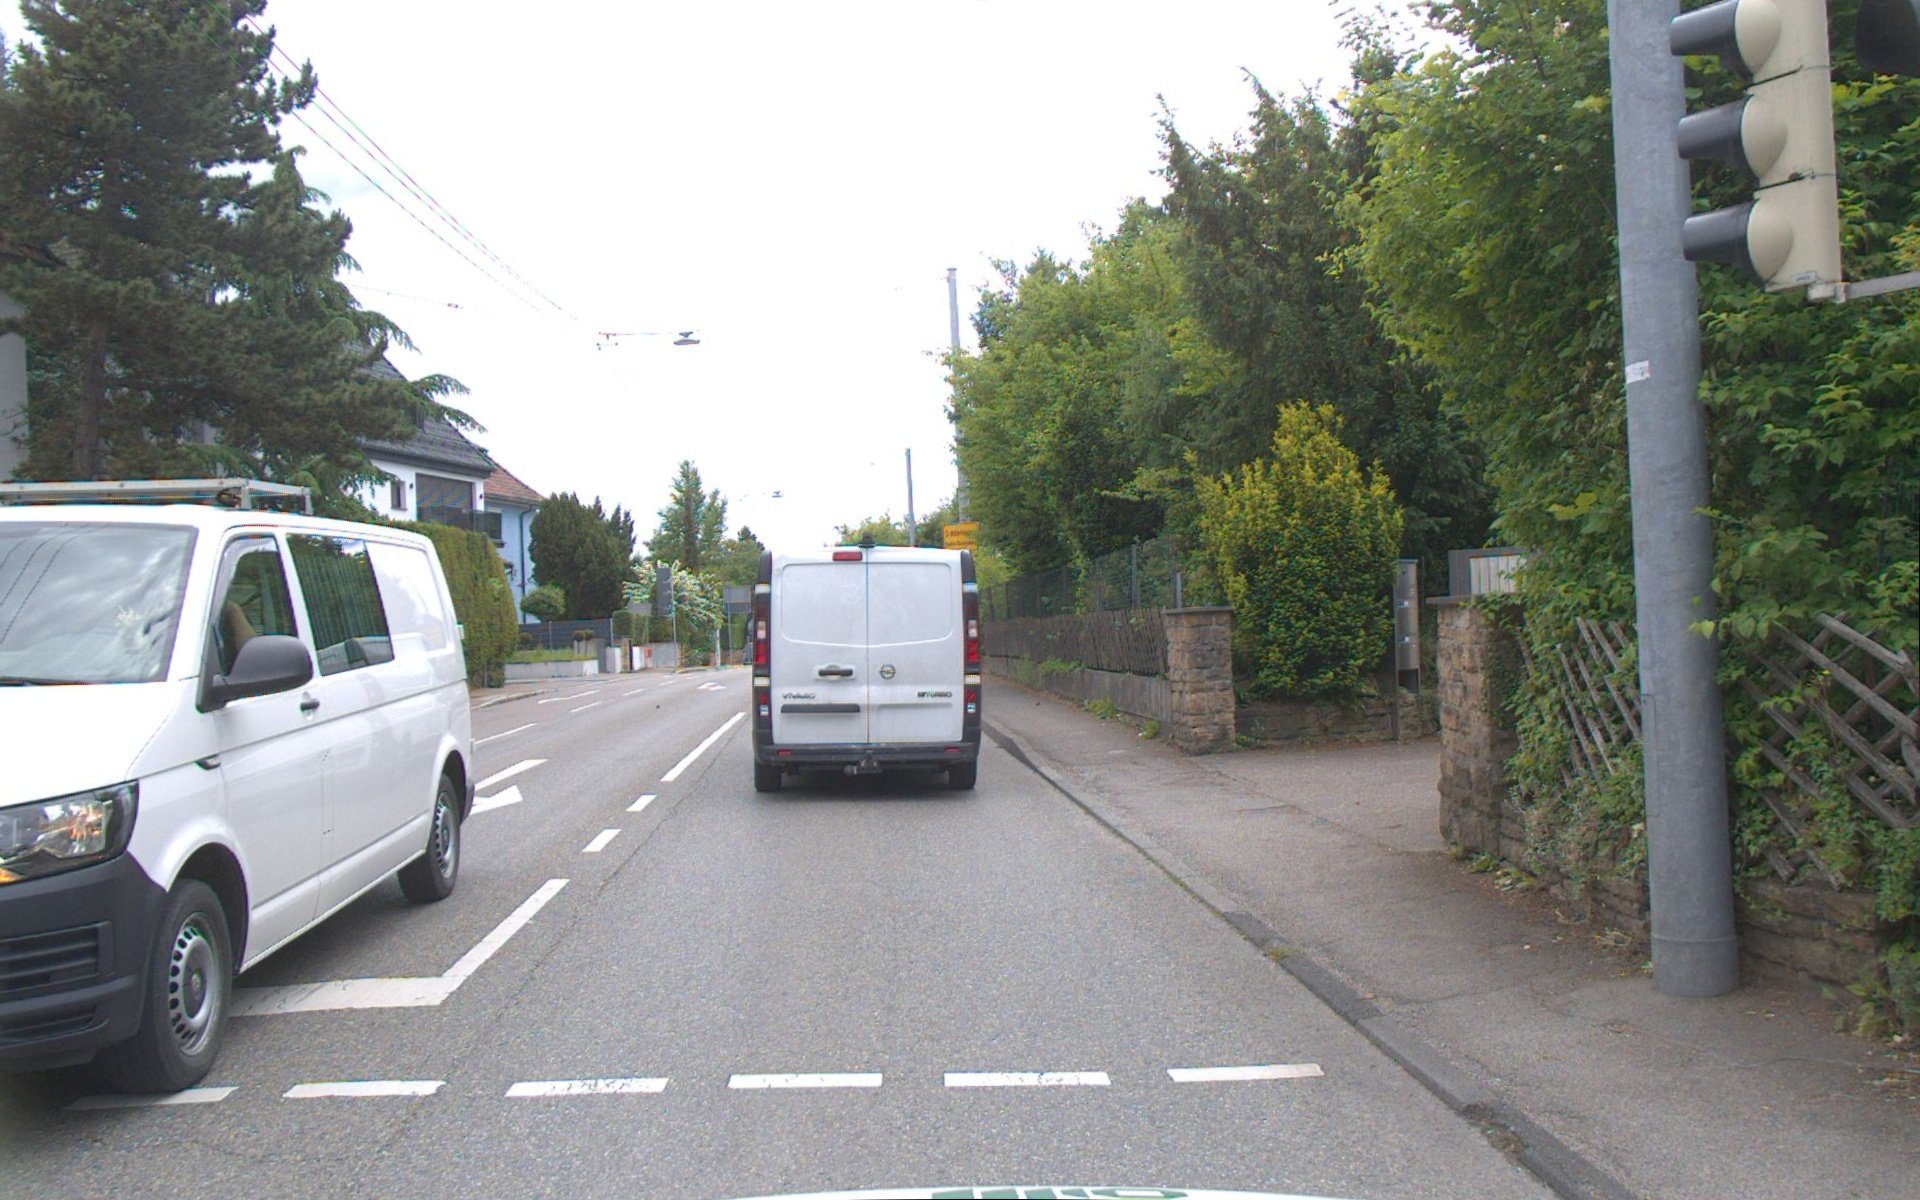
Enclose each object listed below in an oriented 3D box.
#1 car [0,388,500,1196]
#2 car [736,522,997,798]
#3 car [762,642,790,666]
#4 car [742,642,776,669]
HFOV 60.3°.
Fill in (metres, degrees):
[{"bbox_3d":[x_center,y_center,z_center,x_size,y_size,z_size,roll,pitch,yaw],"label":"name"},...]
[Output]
[{"bbox_3d":[-3.389,0.547,6.796,1.822,2.083,5.167,-3,0,-4],"label":"car"},{"bbox_3d":[-0.881,0.473,15.045,1.967,2.073,5.005,0,-1,-4],"label":"car"},{"bbox_3d":[-12.991,3.815,117.135,1.646,1.583,3.968,-4,-2,-4],"label":"car"},{"bbox_3d":[-12.440,3.426,102.366,1.774,1.480,4.409,-5,-1,-5],"label":"car"}]
